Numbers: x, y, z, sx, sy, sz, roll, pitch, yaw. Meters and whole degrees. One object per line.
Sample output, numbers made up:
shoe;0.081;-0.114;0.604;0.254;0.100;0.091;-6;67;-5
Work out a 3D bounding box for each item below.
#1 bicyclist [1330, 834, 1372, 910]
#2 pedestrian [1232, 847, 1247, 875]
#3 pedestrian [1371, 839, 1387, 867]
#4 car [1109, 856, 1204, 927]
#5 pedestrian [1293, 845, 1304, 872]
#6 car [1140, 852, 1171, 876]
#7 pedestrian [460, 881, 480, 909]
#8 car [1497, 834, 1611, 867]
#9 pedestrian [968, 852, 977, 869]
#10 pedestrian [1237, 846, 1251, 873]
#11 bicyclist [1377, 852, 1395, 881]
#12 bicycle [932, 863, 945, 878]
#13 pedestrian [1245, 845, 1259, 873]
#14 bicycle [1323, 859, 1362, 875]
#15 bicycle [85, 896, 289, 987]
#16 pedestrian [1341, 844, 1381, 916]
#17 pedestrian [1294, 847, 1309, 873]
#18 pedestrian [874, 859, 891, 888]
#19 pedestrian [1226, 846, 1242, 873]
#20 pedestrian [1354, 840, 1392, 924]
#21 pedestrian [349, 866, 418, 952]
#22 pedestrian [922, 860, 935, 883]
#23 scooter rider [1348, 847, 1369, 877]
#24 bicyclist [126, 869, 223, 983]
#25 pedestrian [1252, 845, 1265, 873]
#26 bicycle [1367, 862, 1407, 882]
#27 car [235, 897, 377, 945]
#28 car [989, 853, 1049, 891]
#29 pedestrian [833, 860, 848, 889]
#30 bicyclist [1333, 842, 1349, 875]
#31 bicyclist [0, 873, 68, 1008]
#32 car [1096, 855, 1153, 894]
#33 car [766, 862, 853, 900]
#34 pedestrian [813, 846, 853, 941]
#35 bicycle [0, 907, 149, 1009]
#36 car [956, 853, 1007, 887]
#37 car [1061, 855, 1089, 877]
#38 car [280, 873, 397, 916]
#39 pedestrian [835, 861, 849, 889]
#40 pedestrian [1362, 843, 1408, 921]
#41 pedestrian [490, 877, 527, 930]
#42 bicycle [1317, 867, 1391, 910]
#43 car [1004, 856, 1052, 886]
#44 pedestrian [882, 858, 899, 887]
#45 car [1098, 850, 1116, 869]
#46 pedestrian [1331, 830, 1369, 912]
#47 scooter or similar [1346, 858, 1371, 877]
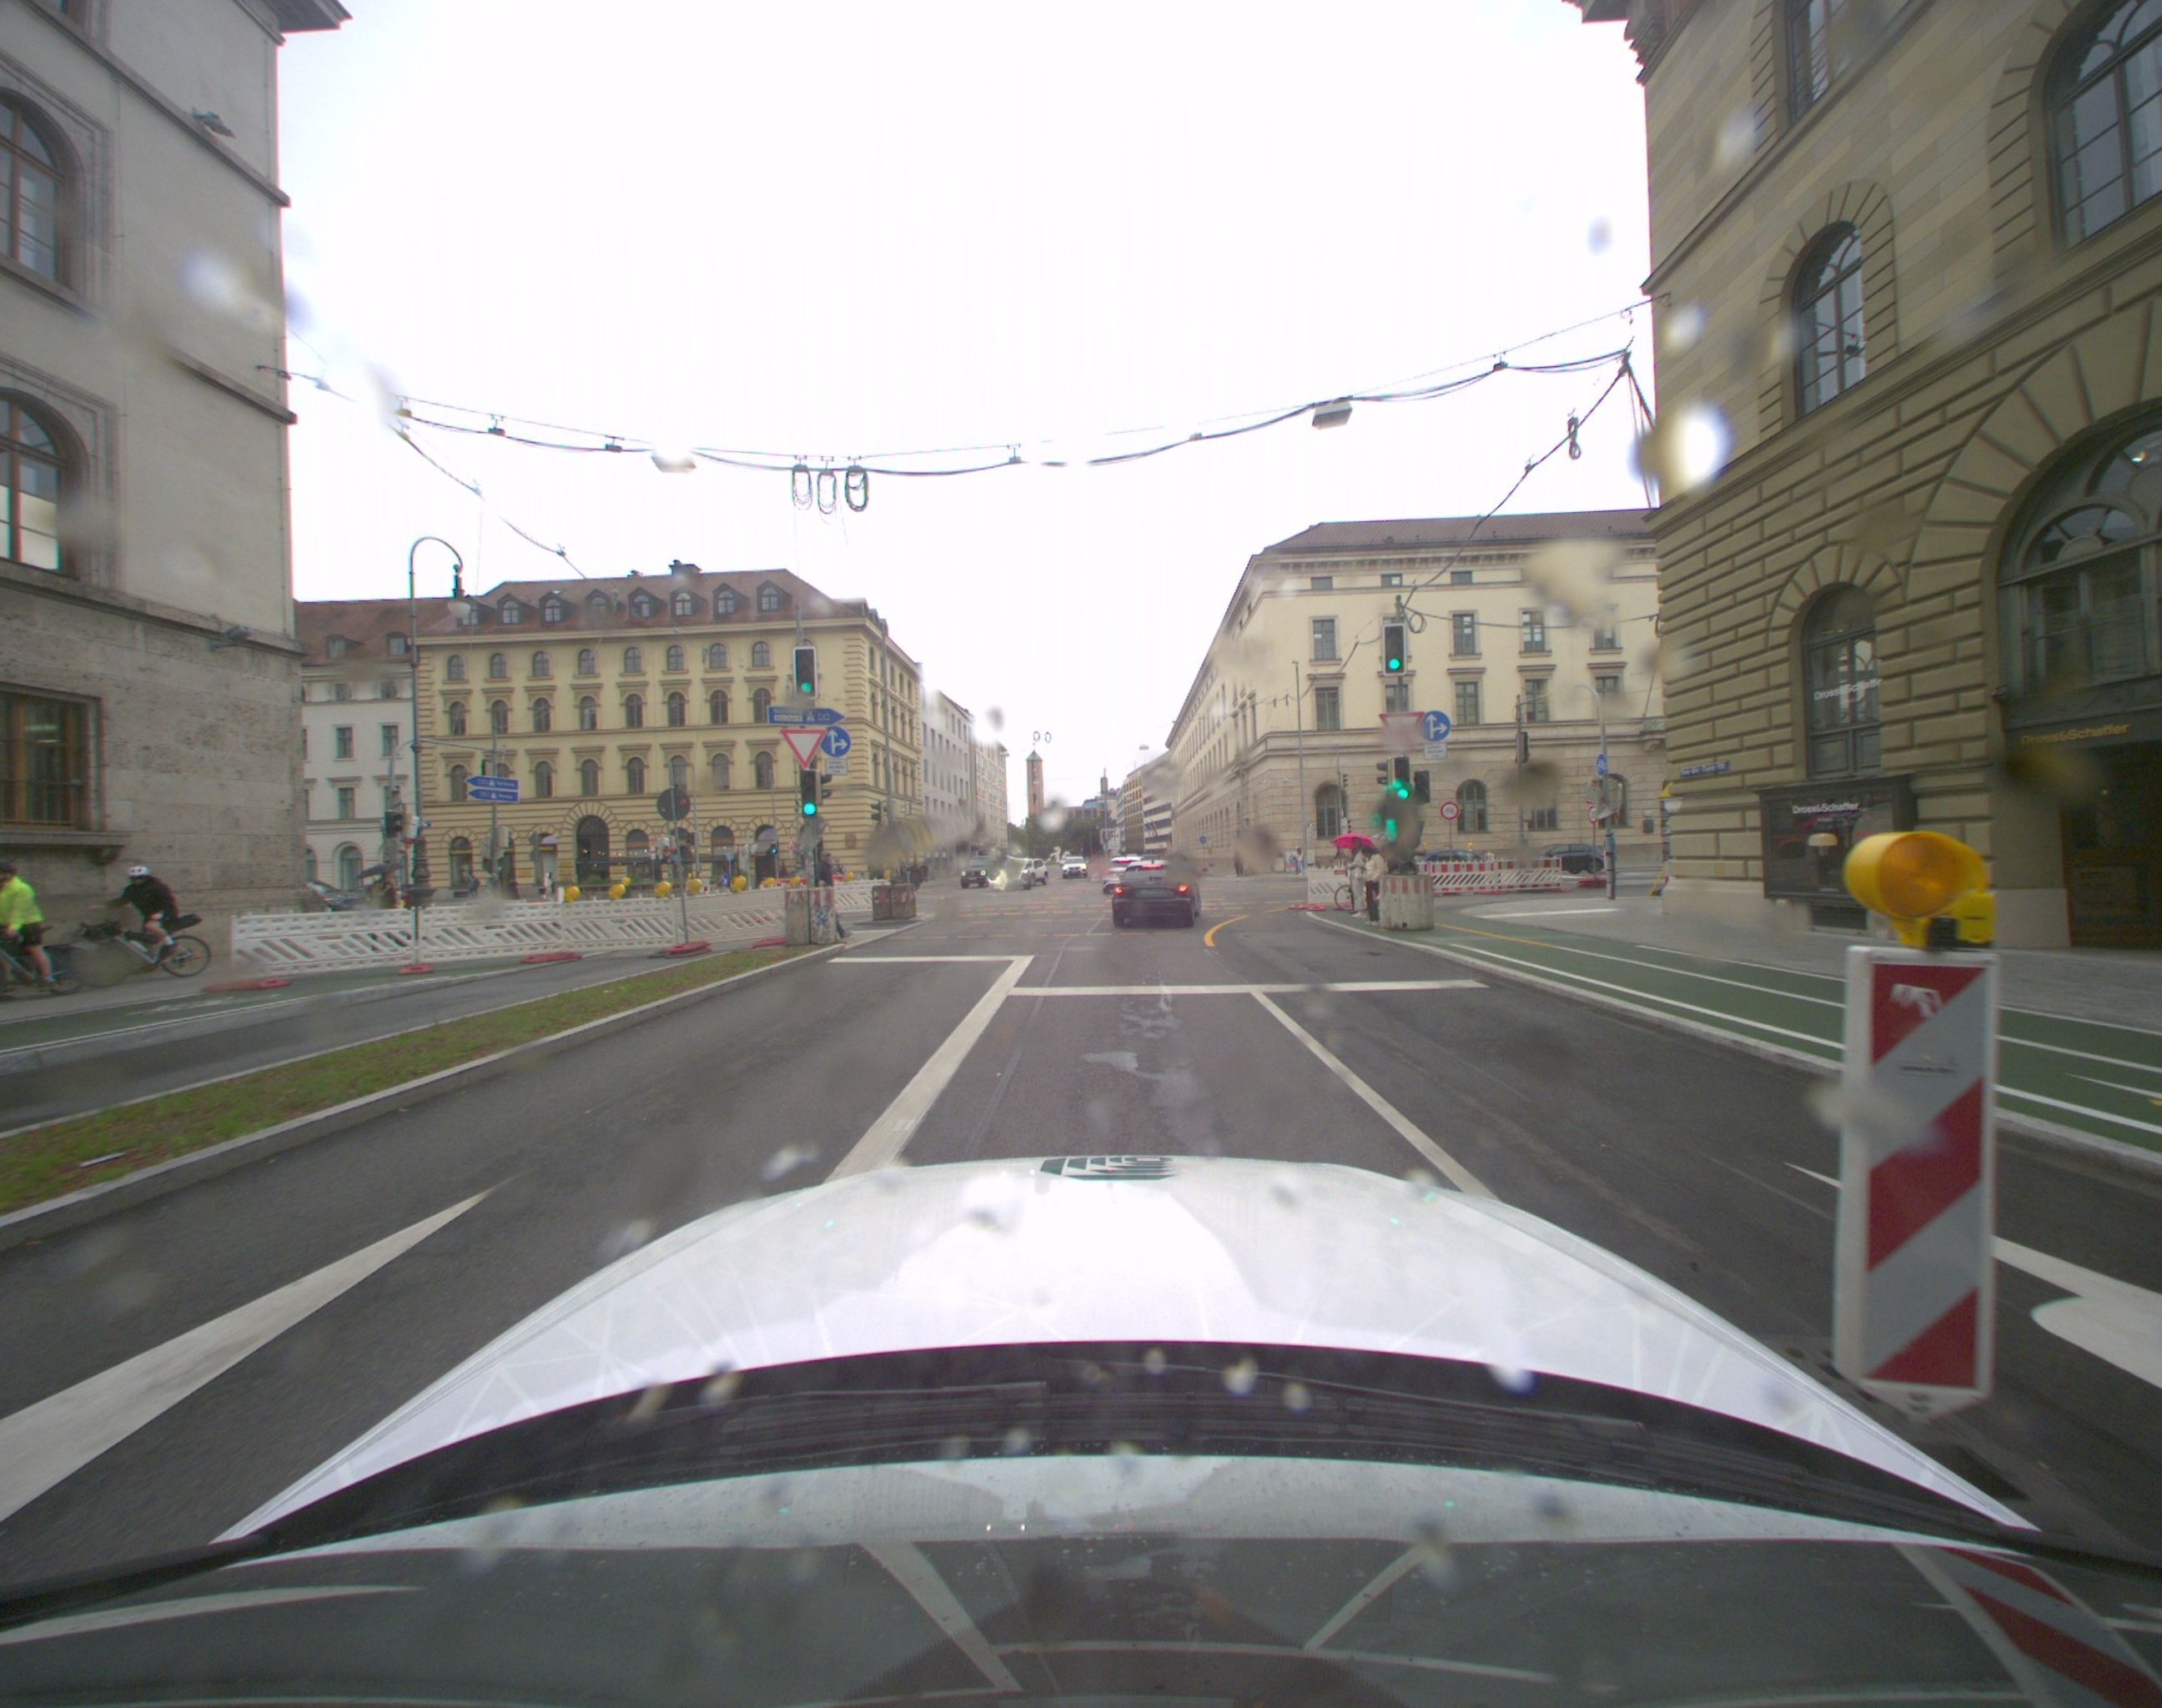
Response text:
bicyclist;6.689;0.437;20.184;0.789;1.854;0.571;-1;0;44
pedestrian;9.928;0.437;51.130;0.811;1.755;0.683;-1;0;18
pedestrian;18.510;-0.048;50.643;0.712;1.694;0.821;-1;0;3
car;1.838;0.773;18.641;1.852;1.388;4.010;-1;0;9
pedestrian;13.467;0.288;50.451;0.612;1.671;0.543;-1;0;9
car;5.213;0.670;57.502;1.858;1.601;3.852;-2;0;1
pedestrian;-40.066;2.674;53.420;0.731;1.772;0.739;-2;0;1
car;21.769;-0.134;37.618;4.211;1.388;1.750;-1;-2;1
pedestrian;-11.318;0.695;85.046;0.734;1.772;0.736;-1;0;1
pedestrian;10.683;0.370;53.418;0.811;1.755;0.588;-1;0;16
bicyclist;17.133;0.717;45.769;0.740;1.615;0.796;-1;0;4
bicycle;-12.845;1.475;73.445;0.595;1.242;2.201;-1;0;4
pedestrian;10.811;0.328;51.490;0.578;1.755;0.825;-1;0;33
bicycle;14.761;0.725;46.005;1.963;0.879;0.662;-1;0;4
bicycle;-14.605;1.384;13.429;0.783;1.242;2.203;-1;0;6
pedestrian;6.192;0.568;18.028;0.699;1.567;0.542;-1;0;4
pedestrian;13.437;0.347;49.722;0.812;1.557;0.669;-1;0;9
pedestrian;-12.526;1.221;51.467;0.727;1.772;0.765;-1;0;23
pedestrian;9.891;0.358;52.726;0.822;1.755;0.580;-1;0;-29
pedestrian;5.767;0.551;16.123;0.529;1.620;0.674;-1;0;4
pedestrian;-14.852;1.148;17.358;0.838;1.772;0.741;-1;0;12
pedestrian;-11.619;1.339;62.075;0.734;1.772;0.736;-1;0;1
scooter rider;15.294;0.437;44.911;0.928;1.622;0.593;-1;0;3
bicyclist;-14.635;1.141;13.163;0.794;1.776;0.690;-1;0;5
pedestrian;11.384;0.319;52.201;0.578;1.755;0.825;-1;0;33
bicycle;17.206;1.001;45.767;1.949;1.040;0.796;-1;0;4
car;-32.063;2.740;33.782;3.972;1.684;2.001;-2;0;1
car;-3.146;0.891;42.089;1.983;1.734;4.597;-2;0;9
pedestrian;-14.985;1.256;50.713;0.733;1.772;0.737;-1;0;-8
bicyclist;14.687;0.248;46.013;0.740;1.842;0.661;-1;0;4
bicyclist;-14.545;1.146;11.028;0.794;1.748;0.690;-1;0;5
car;1.857;0.785;33.173;1.802;1.424;4.464;-1;0;10
car;-13.971;1.375;41.953;4.008;1.720;1.808;-2;0;-26
pedestrian;-4.745;0.739;15.635;0.512;1.743;1.040;-2;0;-8
bicycle;-14.536;1.422;11.057;0.783;1.242;2.453;-1;0;6
car;-6.322;0.999;52.352;2.227;2.013;4.457;-2;0;6
car;-0.421;0.867;61.487;1.986;1.524;4.234;-2;0;1
car;-34.843;1.869;38.295;3.728;1.798;1.868;-2;0;0
pedestrian;-15.083;1.318;51.447;0.733;1.772;0.737;-1;0;-8
pedestrian;6.320;0.569;16.962;0.699;1.567;0.682;-1;0;4
pedestrian;-19.791;1.696;28.169;0.734;1.772;0.736;-1;0;2
bicycle;6.735;0.838;20.145;1.636;1.011;0.590;-1;0;44
car;-3.154;0.996;49.381;1.781;1.677;4.247;-2;0;12
pedestrian;-12.185;1.183;52.192;0.727;1.772;0.743;-1;0;23
car;2.976;0.615;94.935;1.986;2.013;4.001;-2;0;1
pedestrian;6.351;0.400;19.230;0.699;1.885;0.642;-1;0;6
scooter or similar;15.306;0.742;44.908;1.206;0.965;0.588;-1;0;3
